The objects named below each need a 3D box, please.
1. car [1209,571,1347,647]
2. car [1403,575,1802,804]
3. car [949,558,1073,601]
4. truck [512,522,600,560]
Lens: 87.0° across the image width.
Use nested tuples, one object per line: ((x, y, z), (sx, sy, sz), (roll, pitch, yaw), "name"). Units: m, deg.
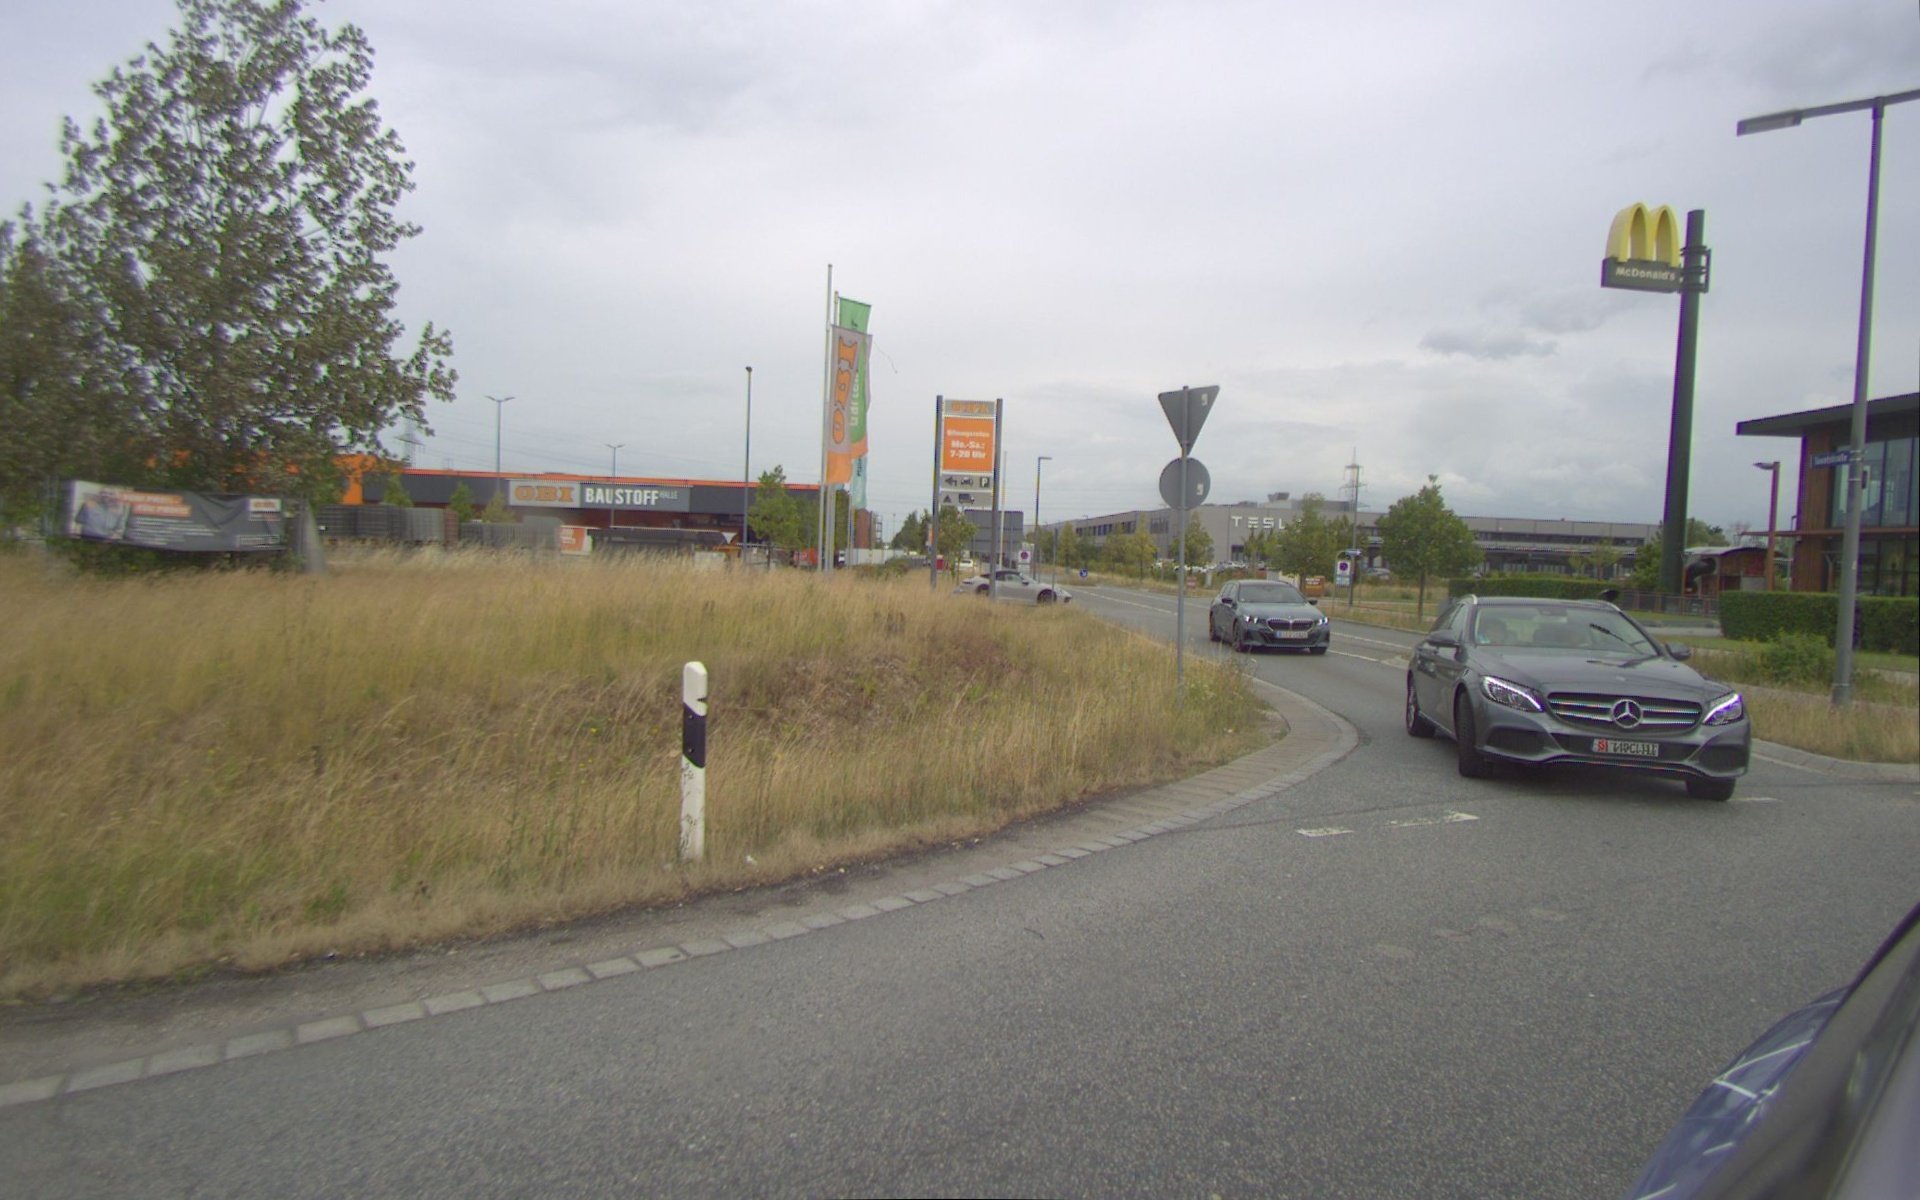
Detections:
((7.031, 0.136, 22.889), (1.965, 1.526, 4.677), (1, 1, 5), "car")
((5.213, 0.588, 8.997), (1.904, 1.421, 4.658), (2, 0, 19), "car")
((2.013, -0.791, 39.333), (4.676, 1.421, 1.741), (3, 1, 6), "car")
((-29.125, -4.255, 73.152), (5.437, 2.515, 2.444), (1, 1, -7), "truck")
